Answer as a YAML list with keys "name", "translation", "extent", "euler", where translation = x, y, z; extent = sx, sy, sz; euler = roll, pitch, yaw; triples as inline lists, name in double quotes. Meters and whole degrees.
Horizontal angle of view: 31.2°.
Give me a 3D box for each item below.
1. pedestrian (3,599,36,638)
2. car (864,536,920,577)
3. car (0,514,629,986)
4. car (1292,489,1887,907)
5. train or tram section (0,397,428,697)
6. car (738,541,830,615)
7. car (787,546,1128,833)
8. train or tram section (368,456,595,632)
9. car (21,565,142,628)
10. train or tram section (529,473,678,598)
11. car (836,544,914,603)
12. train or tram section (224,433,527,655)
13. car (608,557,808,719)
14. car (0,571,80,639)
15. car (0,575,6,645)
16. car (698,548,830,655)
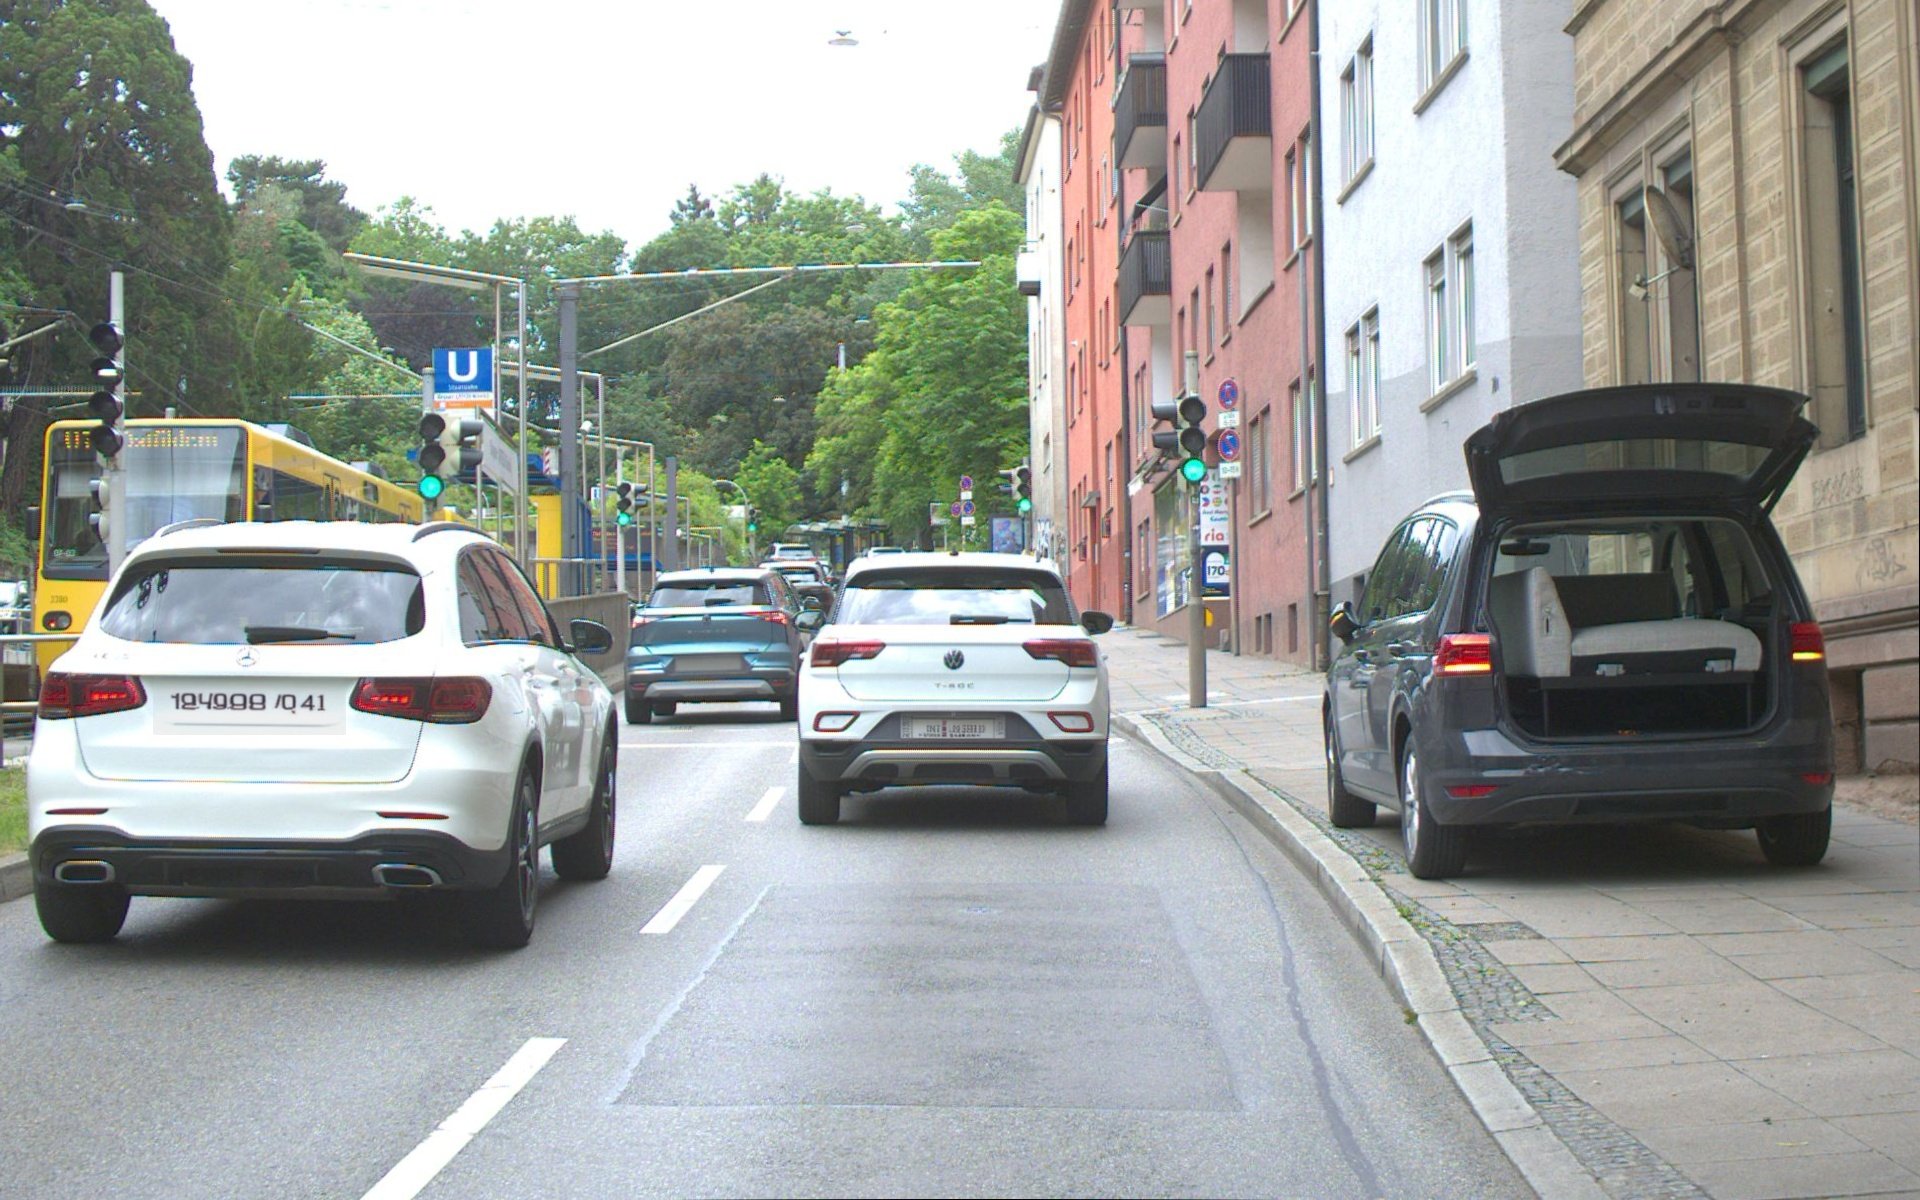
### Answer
- name: "pedestrian"
  translation: [-16.485, 0.322, 60.266]
  extent: [0.430, 0.680, 0.490]
  euler: [-1, 1, -1]
- name: "car"
  translation: [-2.601, -1.664, 131.590]
  extent: [2.068, 1.541, 4.194]
  euler: [1, 1, -1]
- name: "car"
  translation: [-2.565, 0.501, 14.612]
  extent: [1.835, 1.661, 4.671]
  euler: [1, 1, 0]
- name: "car"
  translation: [2.721, 0.361, 15.836]
  extent: [1.835, 1.596, 4.194]
  euler: [-2, 1, -1]
- name: "train or tram section"
  translation: [-9.500, -0.688, 45.327]
  extent: [2.996, 3.337, 13.439]
  euler: [-1, 1, -1]
- name: "car"
  translation: [-3.798, -0.500, 74.767]
  extent: [1.835, 1.541, 4.194]
  euler: [1, 1, -1]
- name: "car"
  translation: [-0.103, 0.459, 20.802]
  extent: [1.835, 1.541, 4.194]
  euler: [1, 1, -2]
- name: "train or tram section"
  translation: [-9.841, -1.164, 72.292]
  extent: [2.996, 3.337, 13.439]
  euler: [-1, 1, -1]
- name: "car"
  translation: [-20.481, -0.093, 80.263]
  extent: [1.830, 1.398, 4.000]
  euler: [-1, 1, -1]
- name: "train or tram section"
  translation: [-10.143, -1.824, 99.197]
  extent: [2.996, 3.337, 13.439]
  euler: [-1, 1, -1]
- name: "car"
  translation: [-2.331, -0.738, 94.187]
  extent: [2.068, 1.541, 4.194]
  euler: [1, 1, -1]
- name: "train or tram section"
  translation: [-9.694, -0.945, 58.788]
  extent: [2.996, 3.337, 13.531]
  euler: [-1, 1, -1]
- name: "car"
  translation: [-2.553, 0.344, 35.639]
  extent: [1.835, 1.541, 4.194]
  euler: [1, 1, -1]
- name: "car"
  translation: [-20.417, 0.100, 74.245]
  extent: [1.830, 1.398, 4.000]
  euler: [-1, 1, -1]
- name: "car"
  translation: [-20.282, 0.236, 67.825]
  extent: [1.830, 1.398, 4.000]
  euler: [-1, 1, -1]
- name: "car"
  translation: [-2.943, -0.010, 52.351]
  extent: [1.835, 1.541, 4.194]
  euler: [1, 1, -1]
